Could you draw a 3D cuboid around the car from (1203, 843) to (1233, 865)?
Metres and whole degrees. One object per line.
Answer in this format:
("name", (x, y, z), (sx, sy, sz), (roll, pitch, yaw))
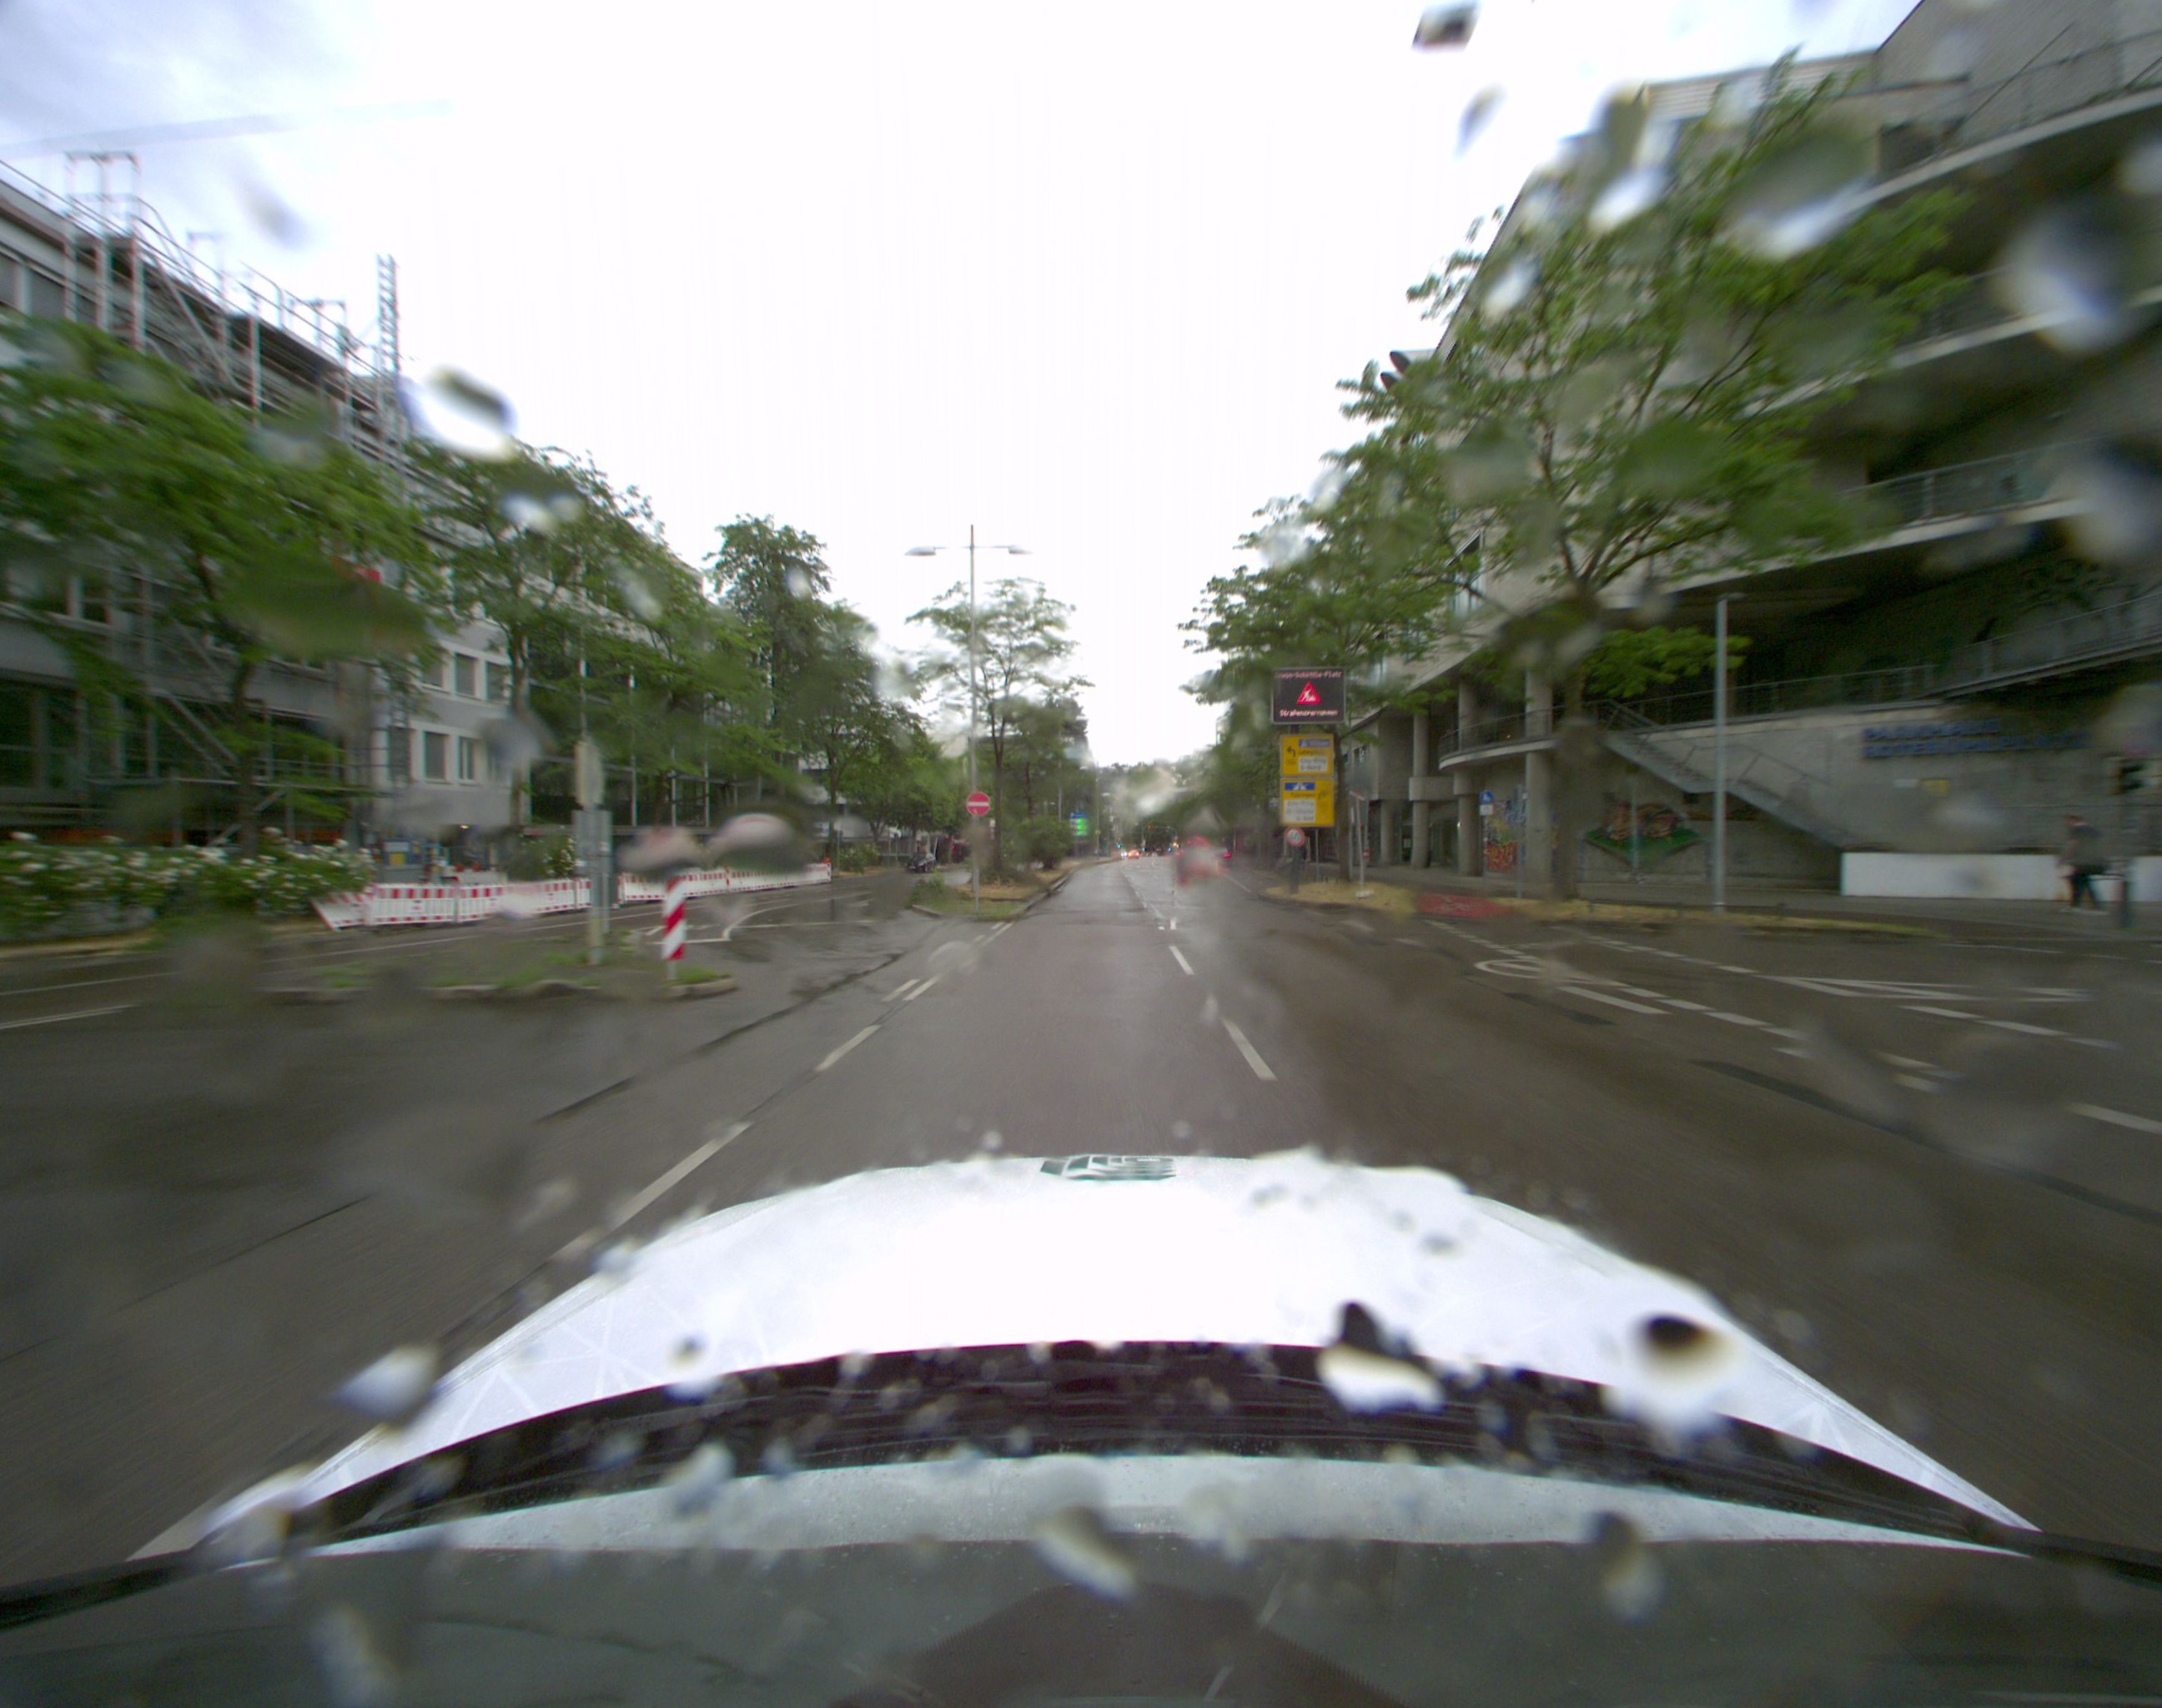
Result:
("car", (10.943, 0.022, 65.265), (2.324, 1.691, 4.010), (-1, 0, 9))

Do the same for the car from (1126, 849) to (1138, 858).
("car", (9.662, -0.025, 153.428), (1.824, 1.640, 4.296), (1, -1, -2))

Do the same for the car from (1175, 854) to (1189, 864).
("car", (17.004, 0.851, 137.368), (1.986, 1.724, 4.000), (-1, -1, 1))

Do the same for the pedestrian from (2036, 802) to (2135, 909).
("pedestrian", (18.400, 0.029, 14.935), (0.843, 1.910, 0.758), (-1, 0, 1))

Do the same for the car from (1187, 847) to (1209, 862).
("car", (12.073, 0.018, 83.923), (1.837, 1.492, 4.002), (-1, 0, 2))

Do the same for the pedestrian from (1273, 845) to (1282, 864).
("pedestrian", (20.322, 0.087, 84.118), (0.772, 1.920, 0.702), (-1, -2, 1))

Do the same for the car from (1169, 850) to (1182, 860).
("car", (17.216, 0.208, 148.575), (1.986, 1.736, 4.001), (-1, -1, 2))
